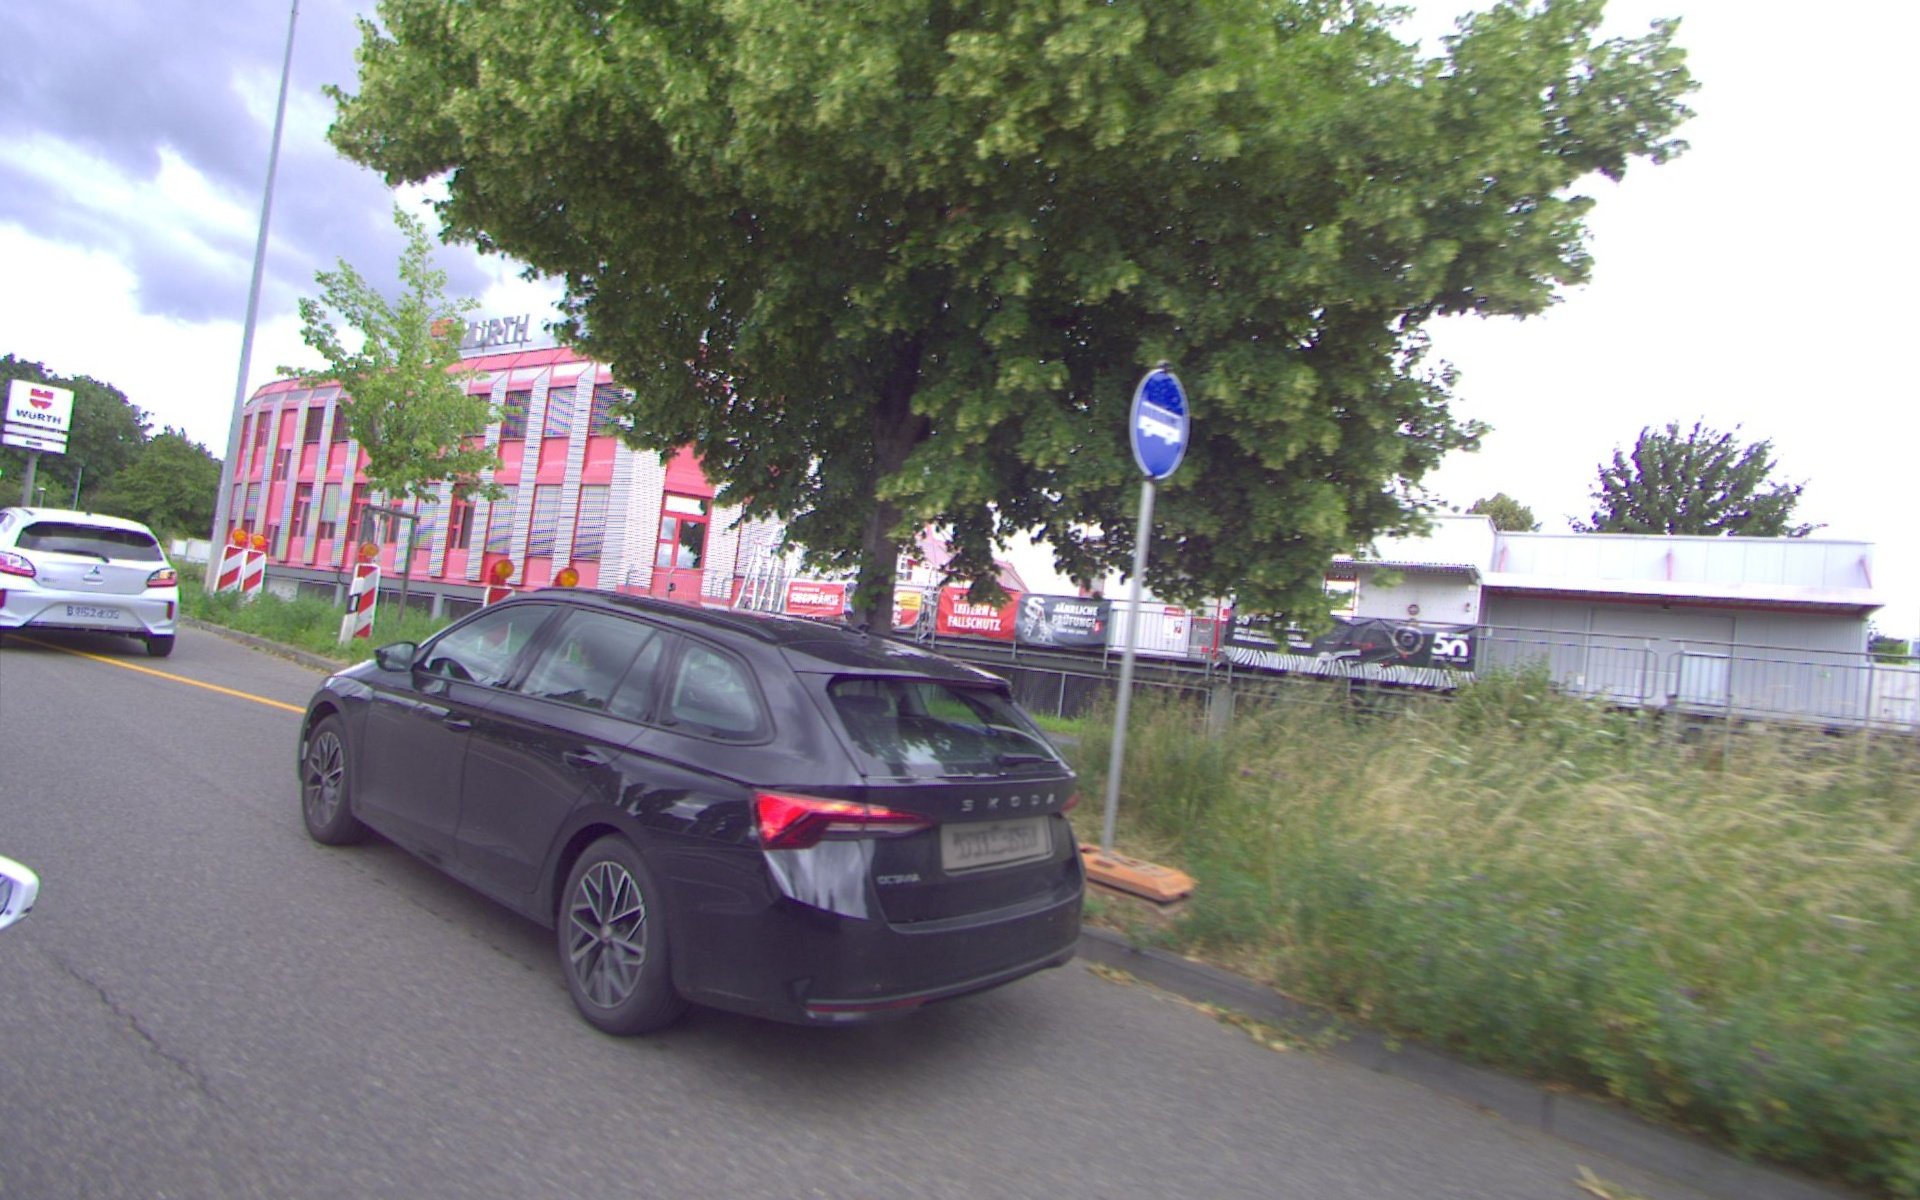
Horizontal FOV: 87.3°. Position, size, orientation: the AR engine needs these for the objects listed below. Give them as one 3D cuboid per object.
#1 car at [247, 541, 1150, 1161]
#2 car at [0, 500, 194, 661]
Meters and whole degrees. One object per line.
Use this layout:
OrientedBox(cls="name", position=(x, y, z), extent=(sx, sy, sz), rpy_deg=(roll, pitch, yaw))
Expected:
OrientedBox(cls="car", position=(-1.492, 0.688, 4.752), extent=(4.214, 1.450, 1.835), rpy_deg=(7, 0, 38))
OrientedBox(cls="car", position=(-10.394, -0.311, 11.658), extent=(3.637, 1.474, 1.622), rpy_deg=(6, -2, 42))
